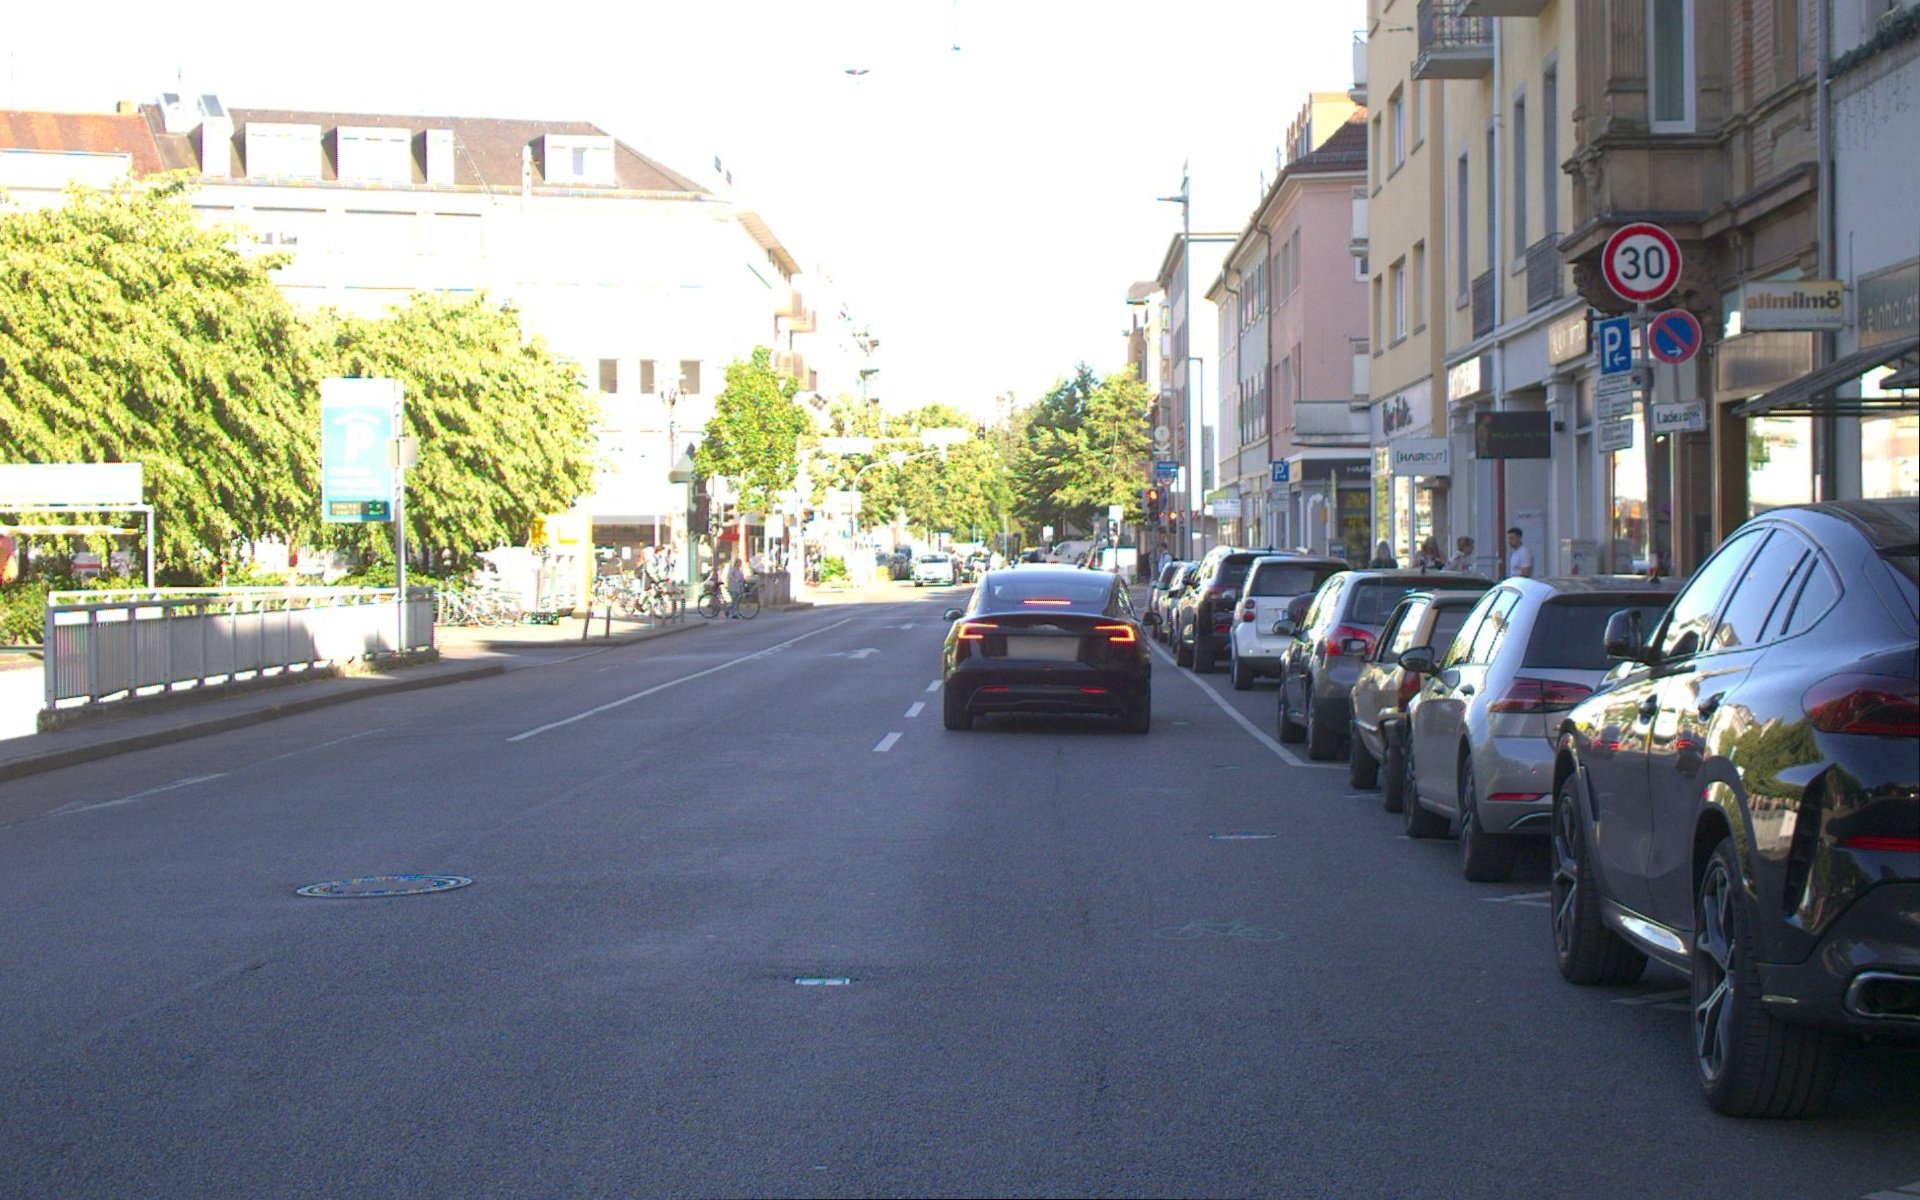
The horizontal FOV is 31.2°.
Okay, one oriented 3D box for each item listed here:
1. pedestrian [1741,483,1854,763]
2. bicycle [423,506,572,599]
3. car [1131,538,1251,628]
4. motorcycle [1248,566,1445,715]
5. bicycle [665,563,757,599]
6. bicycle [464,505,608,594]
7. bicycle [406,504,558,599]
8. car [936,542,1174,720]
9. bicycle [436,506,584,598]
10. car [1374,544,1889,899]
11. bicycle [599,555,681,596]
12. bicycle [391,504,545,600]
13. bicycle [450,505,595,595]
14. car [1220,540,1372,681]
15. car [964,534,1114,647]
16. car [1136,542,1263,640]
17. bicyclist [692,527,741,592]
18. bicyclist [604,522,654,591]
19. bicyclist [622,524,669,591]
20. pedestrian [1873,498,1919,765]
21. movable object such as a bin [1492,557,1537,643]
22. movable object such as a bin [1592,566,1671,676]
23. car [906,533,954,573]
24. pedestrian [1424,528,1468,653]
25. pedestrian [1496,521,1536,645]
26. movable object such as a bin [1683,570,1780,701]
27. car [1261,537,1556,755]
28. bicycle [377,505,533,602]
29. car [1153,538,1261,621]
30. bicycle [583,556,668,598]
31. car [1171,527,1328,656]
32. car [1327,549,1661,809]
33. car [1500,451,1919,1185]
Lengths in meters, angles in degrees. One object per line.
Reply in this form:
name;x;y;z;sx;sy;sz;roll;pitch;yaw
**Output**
pedestrian;5.332;0.140;21.909;0.620;1.760;0.518;0;1;4
bicycle;-10.161;-1.059;75.588;3.123;2.007;0.908;1;1;11
car;3.936;-0.290;59.002;1.792;1.455;3.868;1;0;0
motorcycle;3.596;0.358;31.877;2.039;1.323;0.656;-1;1;-44
bicycle;-6.416;-0.493;88.748;2.244;0.880;0.923;0;1;5
bicycle;-9.705;-1.164;78.737;3.123;2.007;0.908;1;1;11
bicycle;-10.357;-1.056;74.549;3.123;2.007;0.908;1;1;11
car;0.826;0.257;31.550;1.995;1.475;4.495;1;0;0
bicycle;-10.031;-1.085;76.667;3.123;2.007;0.908;1;1;11
car;3.217;0.504;17.287;1.839;1.482;4.184;1;2;2
bicycle;-8.090;-0.610;86.944;2.011;1.018;0.762;0;1;-2
bicycle;-10.523;-1.027;73.563;3.123;2.007;0.908;1;1;11
bicycle;-9.890;-1.136;77.700;3.123;2.007;0.908;1;1;11
car;3.938;0.092;40.632;1.613;1.541;2.855;1;2;3
car;1.145;-0.166;47.886;1.935;1.482;4.271;1;1;3
car;3.736;-0.143;54.112;1.792;1.455;4.084;1;0;2
bicyclist;-6.284;-1.053;88.735;1.146;1.680;0.914;0;1;5
bicyclist;-8.131;-1.068;84.427;1.146;1.680;0.919;0;1;-2
bicyclist;-7.949;-1.088;86.944;1.146;1.680;0.819;0;1;-2
pedestrian;6.279;0.182;21.799;0.801;1.669;0.589;-2;1;4
movable object such as a bin;6.938;-0.006;43.028;0.455;1.048;0.500;-2;1;1
movable object such as a bin;6.791;0.207;34.811;0.644;1.072;0.819;-2;1;3
car;-1.405;-2.245;161.907;1.994;1.765;4.000;1;2;3
pedestrian;6.381;-0.127;45.138;0.471;1.630;0.513;1;1;18
pedestrian;7.342;-0.228;45.394;0.470;1.630;0.513;1;1;6
movable object such as a bin;6.612;0.298;29.473;0.679;1.092;0.626;-2;1;1
car;3.516;0.303;27.673;1.839;1.541;4.228;1;2;1
bicycle;-10.664;-0.994;72.611;3.123;2.007;0.908;1;1;11
car;4.541;-0.367;63.692;1.792;1.455;3.868;1;0;2
bicycle;-8.203;-0.568;84.430;2.011;1.018;0.888;0;1;-2
car;3.868;-0.113;46.463;1.716;1.630;4.084;1;0;0
car;3.335;0.435;22.078;1.608;1.444;3.830;1;2;2
car;2.971;0.470;10.472;1.973;1.719;4.824;1;2;2
